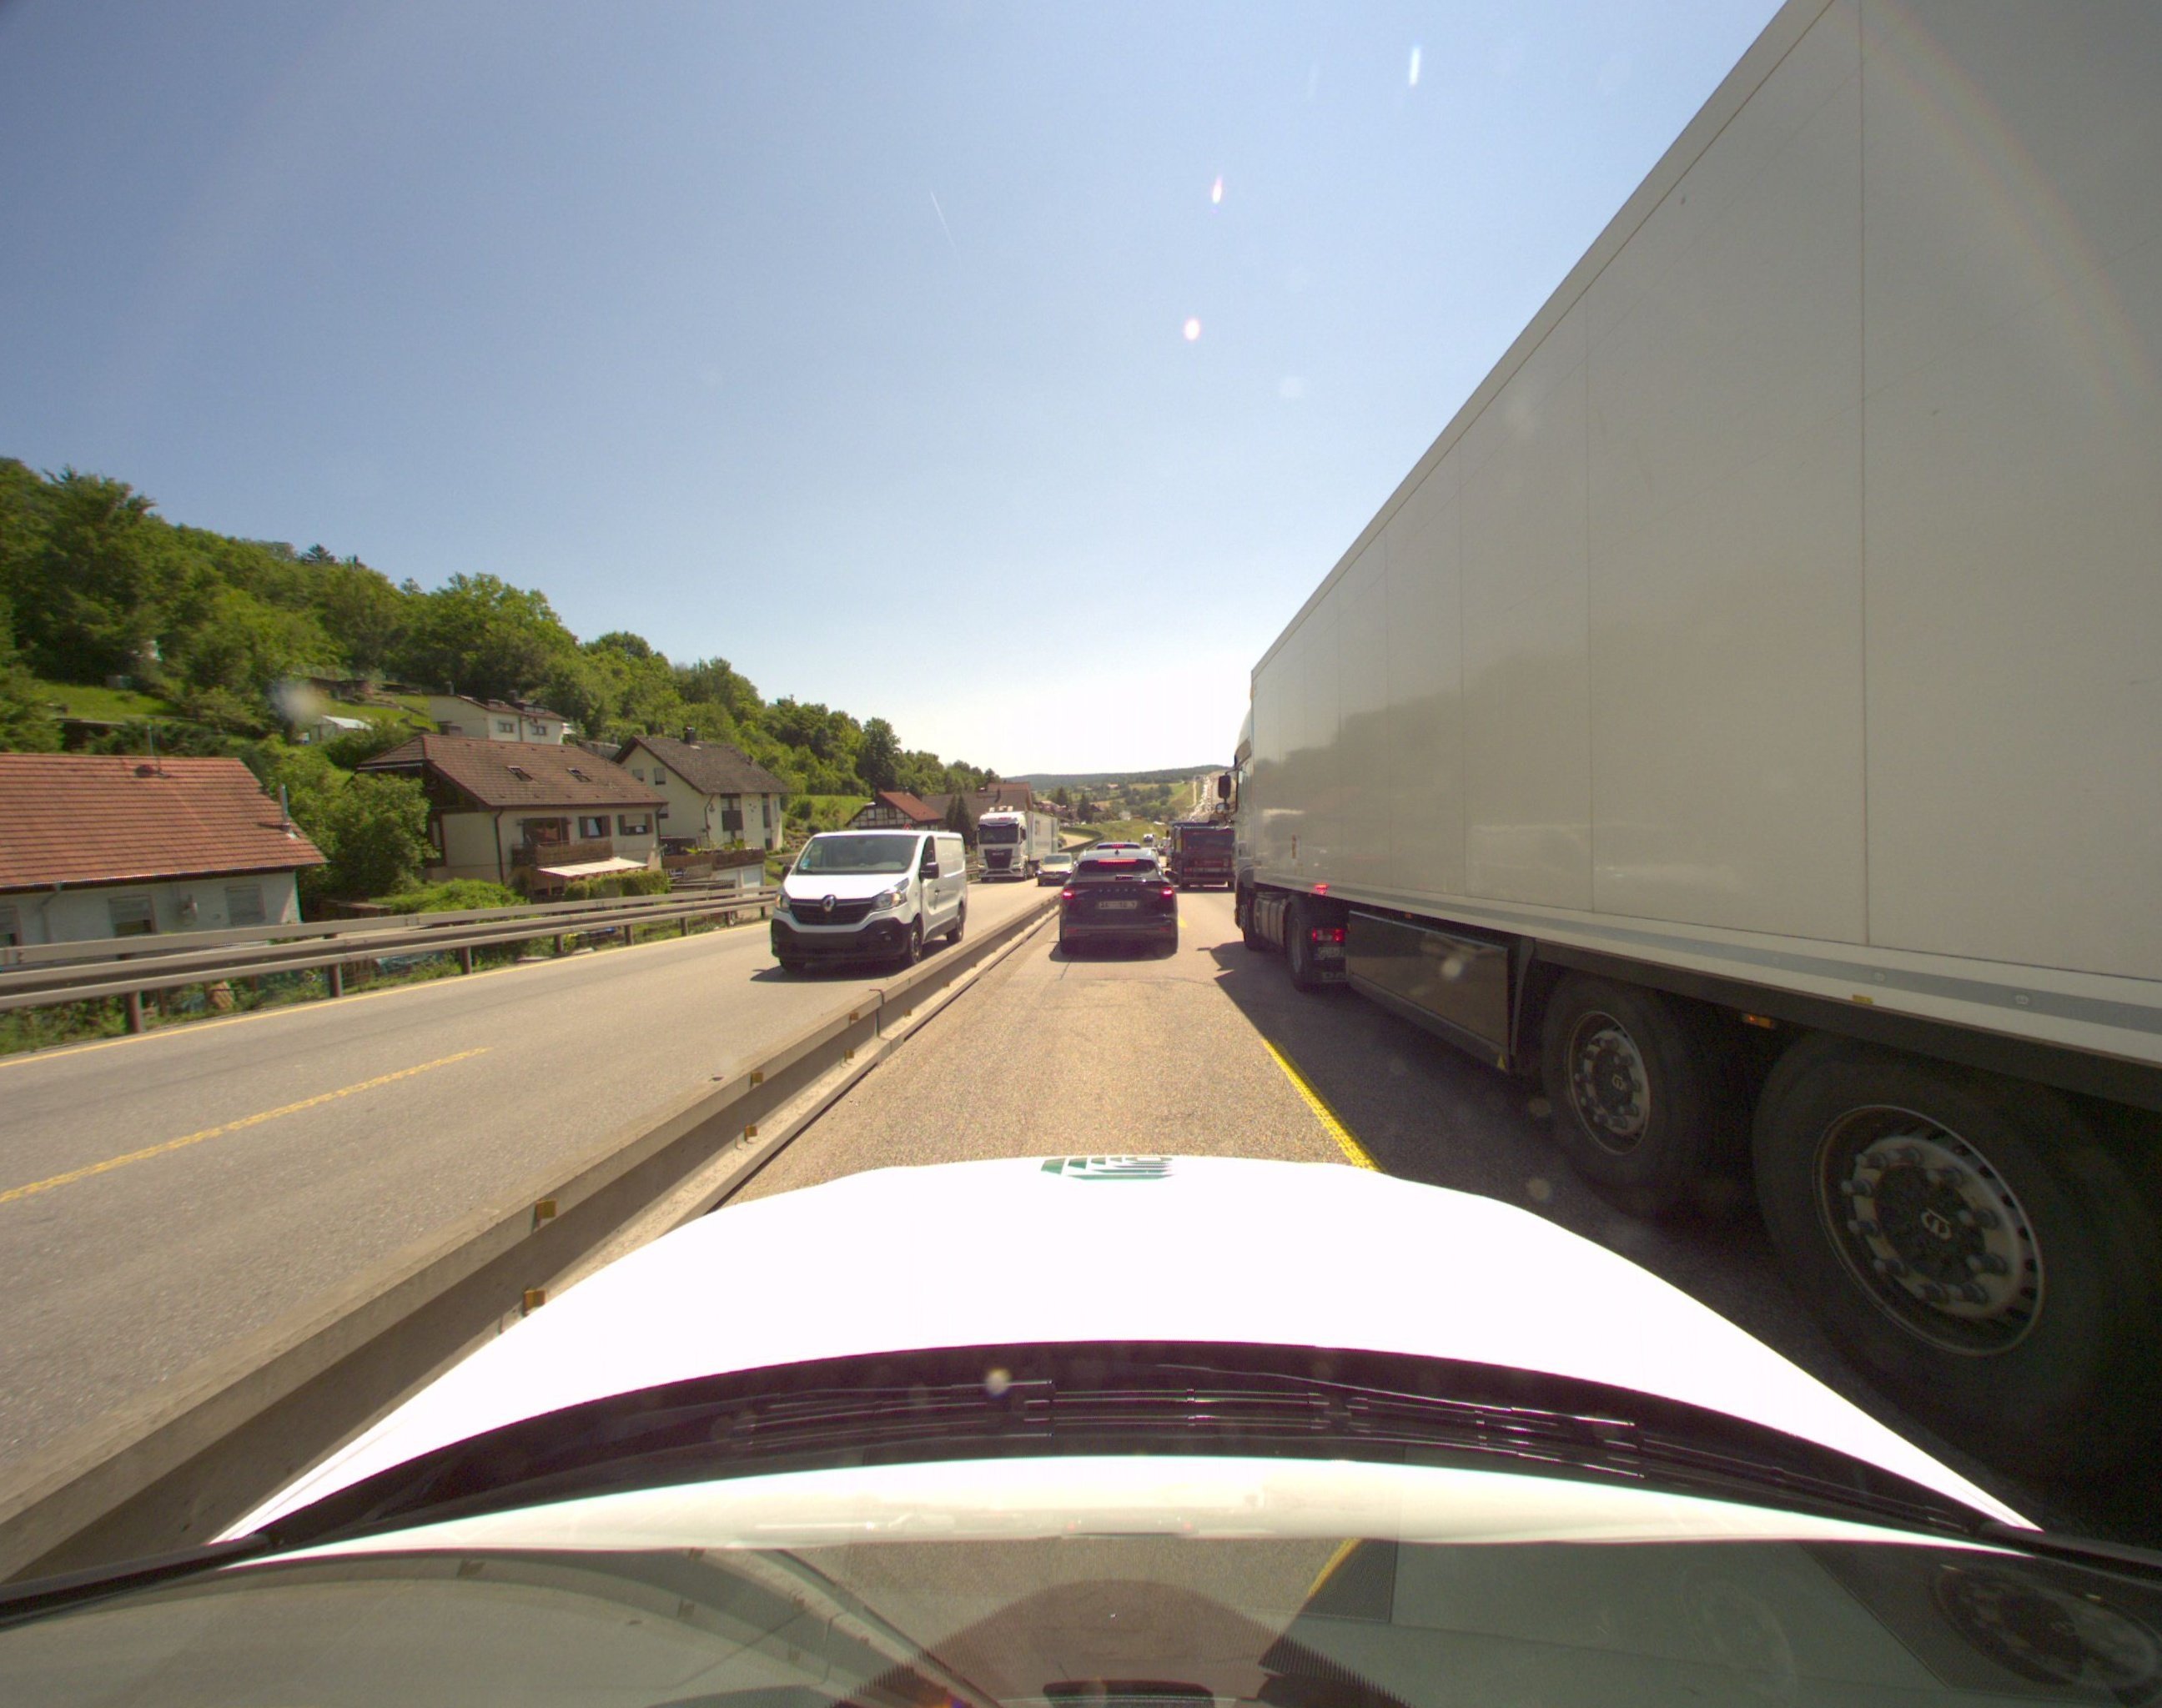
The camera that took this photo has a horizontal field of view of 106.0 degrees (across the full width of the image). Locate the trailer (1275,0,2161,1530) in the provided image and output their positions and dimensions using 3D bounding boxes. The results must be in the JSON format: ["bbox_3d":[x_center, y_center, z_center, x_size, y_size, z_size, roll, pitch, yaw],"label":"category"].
[{"bbox_3d":[3.223,-0.863,3.270,2.522,4.127,11.553,0,-1,2],"label":"trailer"}]

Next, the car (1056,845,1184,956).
[{"bbox_3d":[0.577,0.687,13.672,1.836,1.586,3.907,0,-1,0],"label":"car"}]

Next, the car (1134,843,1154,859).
[{"bbox_3d":[6.548,-0.323,84.236,1.984,1.585,3.841,0,-1,5],"label":"car"}]

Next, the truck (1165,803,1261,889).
[{"bbox_3d":[5.599,-0.246,36.819,3.180,3.191,12.823,-1,-1,4],"label":"truck"}]

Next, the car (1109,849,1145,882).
[{"bbox_3d":[2.360,0.553,42.370,1.701,1.622,4.000,0,1,0],"label":"car"}]

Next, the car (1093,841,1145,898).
[{"bbox_3d":[1.299,0.489,29.075,1.701,1.881,4.000,0,1,0],"label":"car"}]

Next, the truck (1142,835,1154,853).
[{"bbox_3d":[17.134,-2.530,206.999,2.737,4.283,4.967,0,0,7],"label":"truck"}]

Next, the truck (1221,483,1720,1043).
[{"bbox_3d":[3.500,-0.625,9.993,2.503,4.025,8.243,0,-1,3],"label":"truck"}]

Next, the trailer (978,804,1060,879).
[{"bbox_3d":[-3.770,-0.663,54.129,3.236,4.378,14.077,0,-1,5],"label":"trailer"}]

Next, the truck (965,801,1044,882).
[{"bbox_3d":[-4.312,-0.649,48.125,3.288,4.362,8.311,0,-1,4],"label":"truck"}]

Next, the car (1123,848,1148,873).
[{"bbox_3d":[3.784,0.431,56.392,1.699,1.622,4.005,0,1,4],"label":"car"}]

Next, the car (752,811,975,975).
[{"bbox_3d":[-3.079,0.516,12.763,1.986,2.011,4.859,-2,-1,2],"label":"car"}]

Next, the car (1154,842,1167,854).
[{"bbox_3d":[11.807,-0.839,120.807,1.691,1.728,3.845,0,-1,9],"label":"car"}]

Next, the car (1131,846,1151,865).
[{"bbox_3d":[5.375,0.128,73.096,1.699,1.622,4.005,0,1,4],"label":"car"}]

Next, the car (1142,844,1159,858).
[{"bbox_3d":[8.456,-0.350,98.882,1.984,1.585,3.841,0,-1,5],"label":"car"}]

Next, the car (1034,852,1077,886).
[{"bbox_3d":[-1.215,0.727,39.978,1.839,1.574,4.001,-1,-1,2],"label":"car"}]

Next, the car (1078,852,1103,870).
[{"bbox_3d":[0.831,0.575,68.432,1.782,1.453,4.639,-2,-1,3],"label":"car"}]
